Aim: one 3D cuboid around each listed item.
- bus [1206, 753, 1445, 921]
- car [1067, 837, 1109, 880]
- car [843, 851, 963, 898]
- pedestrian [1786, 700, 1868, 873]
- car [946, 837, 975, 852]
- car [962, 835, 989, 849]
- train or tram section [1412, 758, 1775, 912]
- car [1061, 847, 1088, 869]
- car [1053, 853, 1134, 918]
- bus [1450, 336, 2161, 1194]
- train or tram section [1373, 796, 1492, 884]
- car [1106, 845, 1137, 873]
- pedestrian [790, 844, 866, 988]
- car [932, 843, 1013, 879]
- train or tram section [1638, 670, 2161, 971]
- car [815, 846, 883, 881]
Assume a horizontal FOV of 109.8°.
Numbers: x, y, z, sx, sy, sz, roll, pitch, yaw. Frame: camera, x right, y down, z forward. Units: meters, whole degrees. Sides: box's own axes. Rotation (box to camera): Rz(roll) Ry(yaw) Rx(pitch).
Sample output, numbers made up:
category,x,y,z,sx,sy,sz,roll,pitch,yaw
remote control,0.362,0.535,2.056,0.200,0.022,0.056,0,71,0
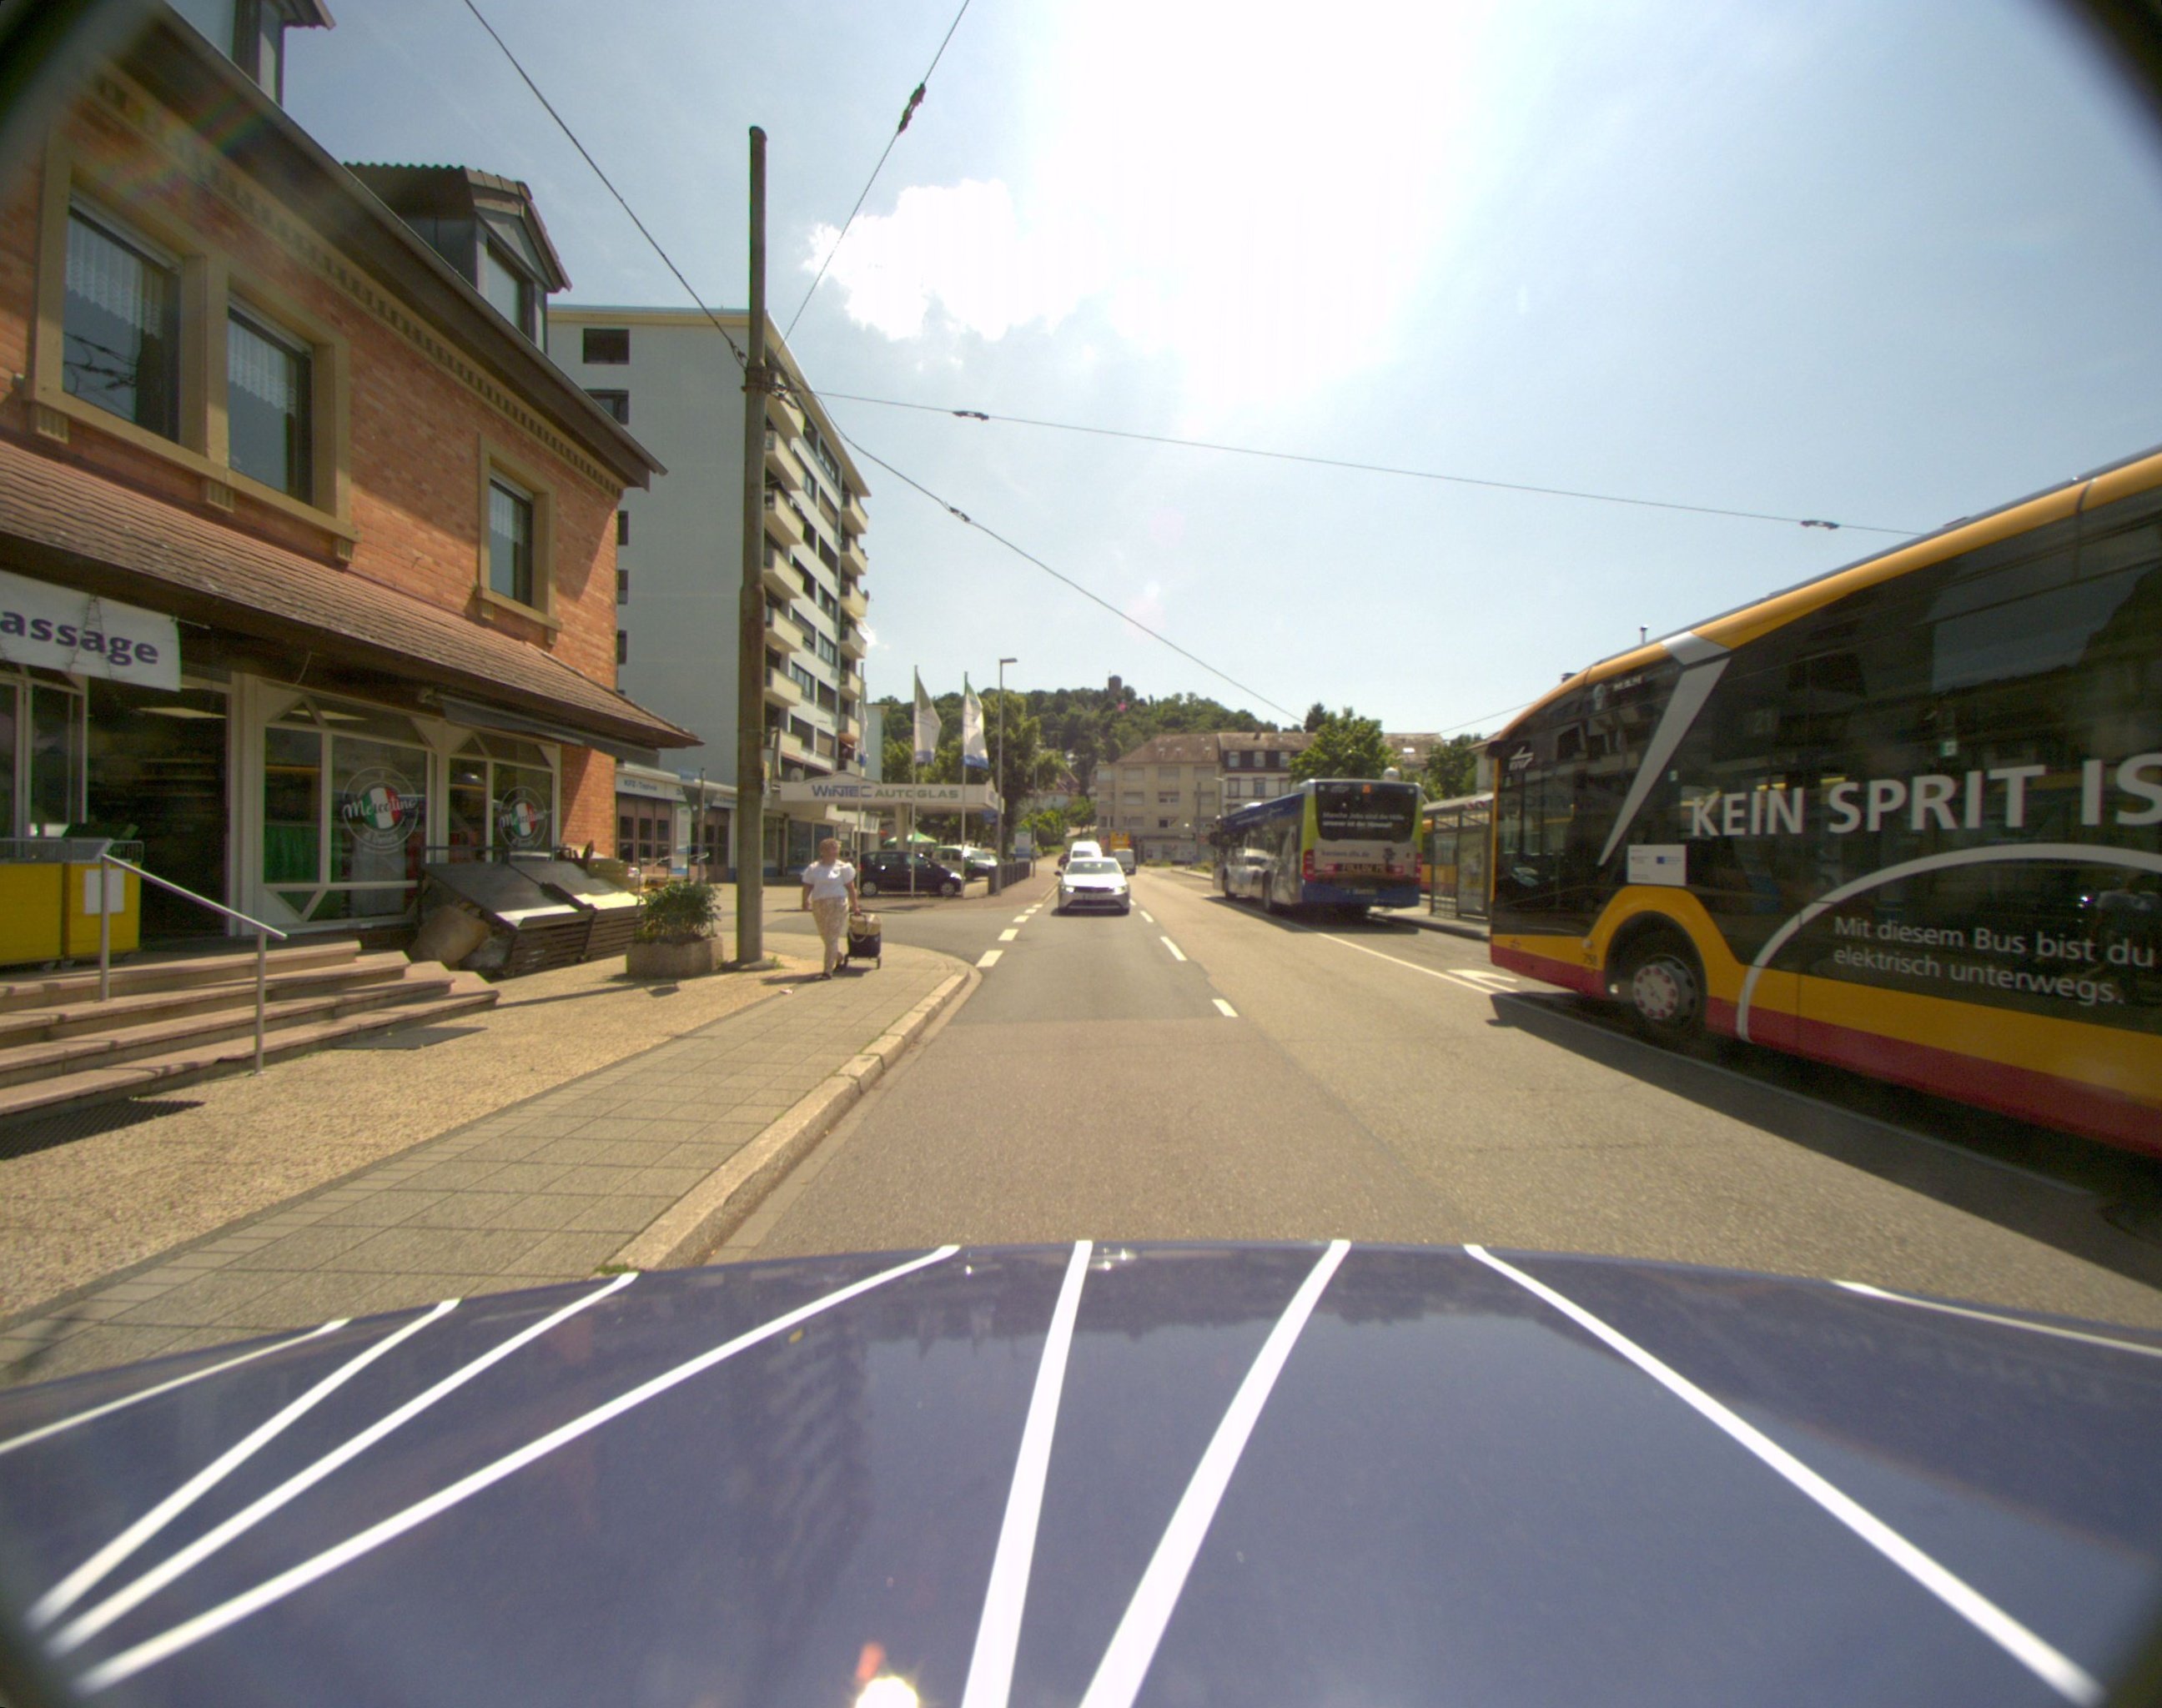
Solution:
category,x,y,z,sx,sy,sz,roll,pitch,yaw
bus,6.078,-0.313,21.809,2.915,3.406,12.040,-2,0,0
car,0.317,0.173,43.049,1.999,2.258,5.442,-2,2,-2
car,-6.077,0.666,26.168,3.890,1.534,1.840,0,1,-12
pedestrian,8.115,-0.703,8.266,0.784,1.767,0.572,-3,3,-41
car,-17.519,-1.443,111.024,2.398,2.002,5.384,-1,2,12
car,-16.255,-1.888,117.565,2.398,2.002,5.384,-1,2,12
train or tram section,14.679,-0.497,23.989,2.971,3.475,12.655,-2,1,1
car,-0.488,0.267,60.956,1.998,1.609,3.999,-2,2,1
car,0.306,0.718,19.339,1.818,1.371,4.391,-1,1,0
bus,5.518,-0.349,2.435,2.905,3.229,12.193,-2,2,1
train or tram section,14.800,-0.581,32.366,2.971,3.475,4.417,1,1,0
car,2.873,0.312,54.449,1.708,1.840,4.710,-2,2,-3
pedestrian,-2.979,0.712,8.992,0.707,1.631,0.659,1,-1,-9
car,-5.885,0.368,40.987,4.277,1.780,1.826,0,2,40
train or tram section,14.503,-0.441,9.149,2.971,3.621,17.350,-2,1,1
car,-11.314,0.420,37.383,1.750,1.617,4.705,0,1,2
